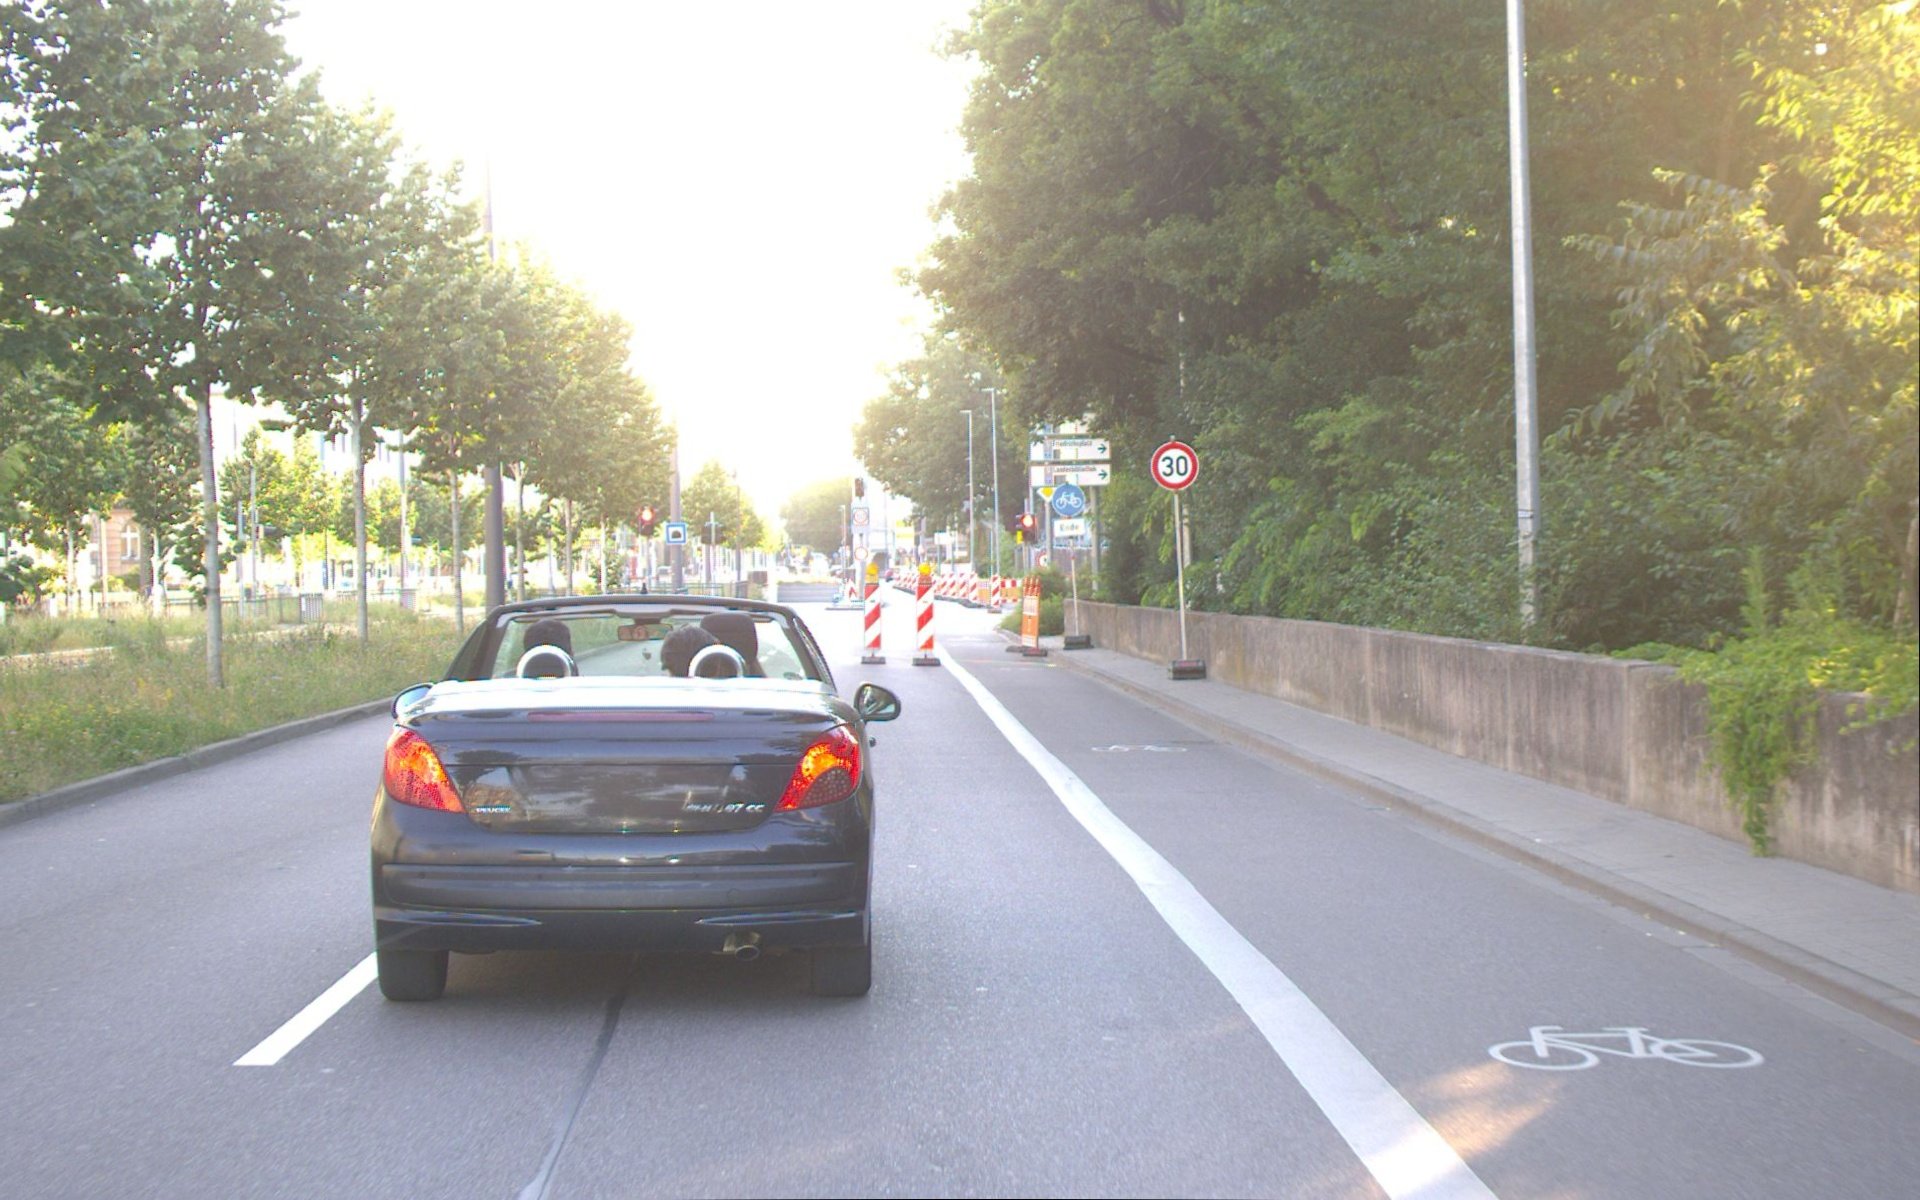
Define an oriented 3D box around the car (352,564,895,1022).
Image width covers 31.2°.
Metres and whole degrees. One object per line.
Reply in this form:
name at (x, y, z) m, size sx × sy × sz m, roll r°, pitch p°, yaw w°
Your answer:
car at (-1.291, 0.593, 12.894) m, size 1.718 × 1.445 × 3.902 m, roll 0°, pitch 0°, yaw -7°
